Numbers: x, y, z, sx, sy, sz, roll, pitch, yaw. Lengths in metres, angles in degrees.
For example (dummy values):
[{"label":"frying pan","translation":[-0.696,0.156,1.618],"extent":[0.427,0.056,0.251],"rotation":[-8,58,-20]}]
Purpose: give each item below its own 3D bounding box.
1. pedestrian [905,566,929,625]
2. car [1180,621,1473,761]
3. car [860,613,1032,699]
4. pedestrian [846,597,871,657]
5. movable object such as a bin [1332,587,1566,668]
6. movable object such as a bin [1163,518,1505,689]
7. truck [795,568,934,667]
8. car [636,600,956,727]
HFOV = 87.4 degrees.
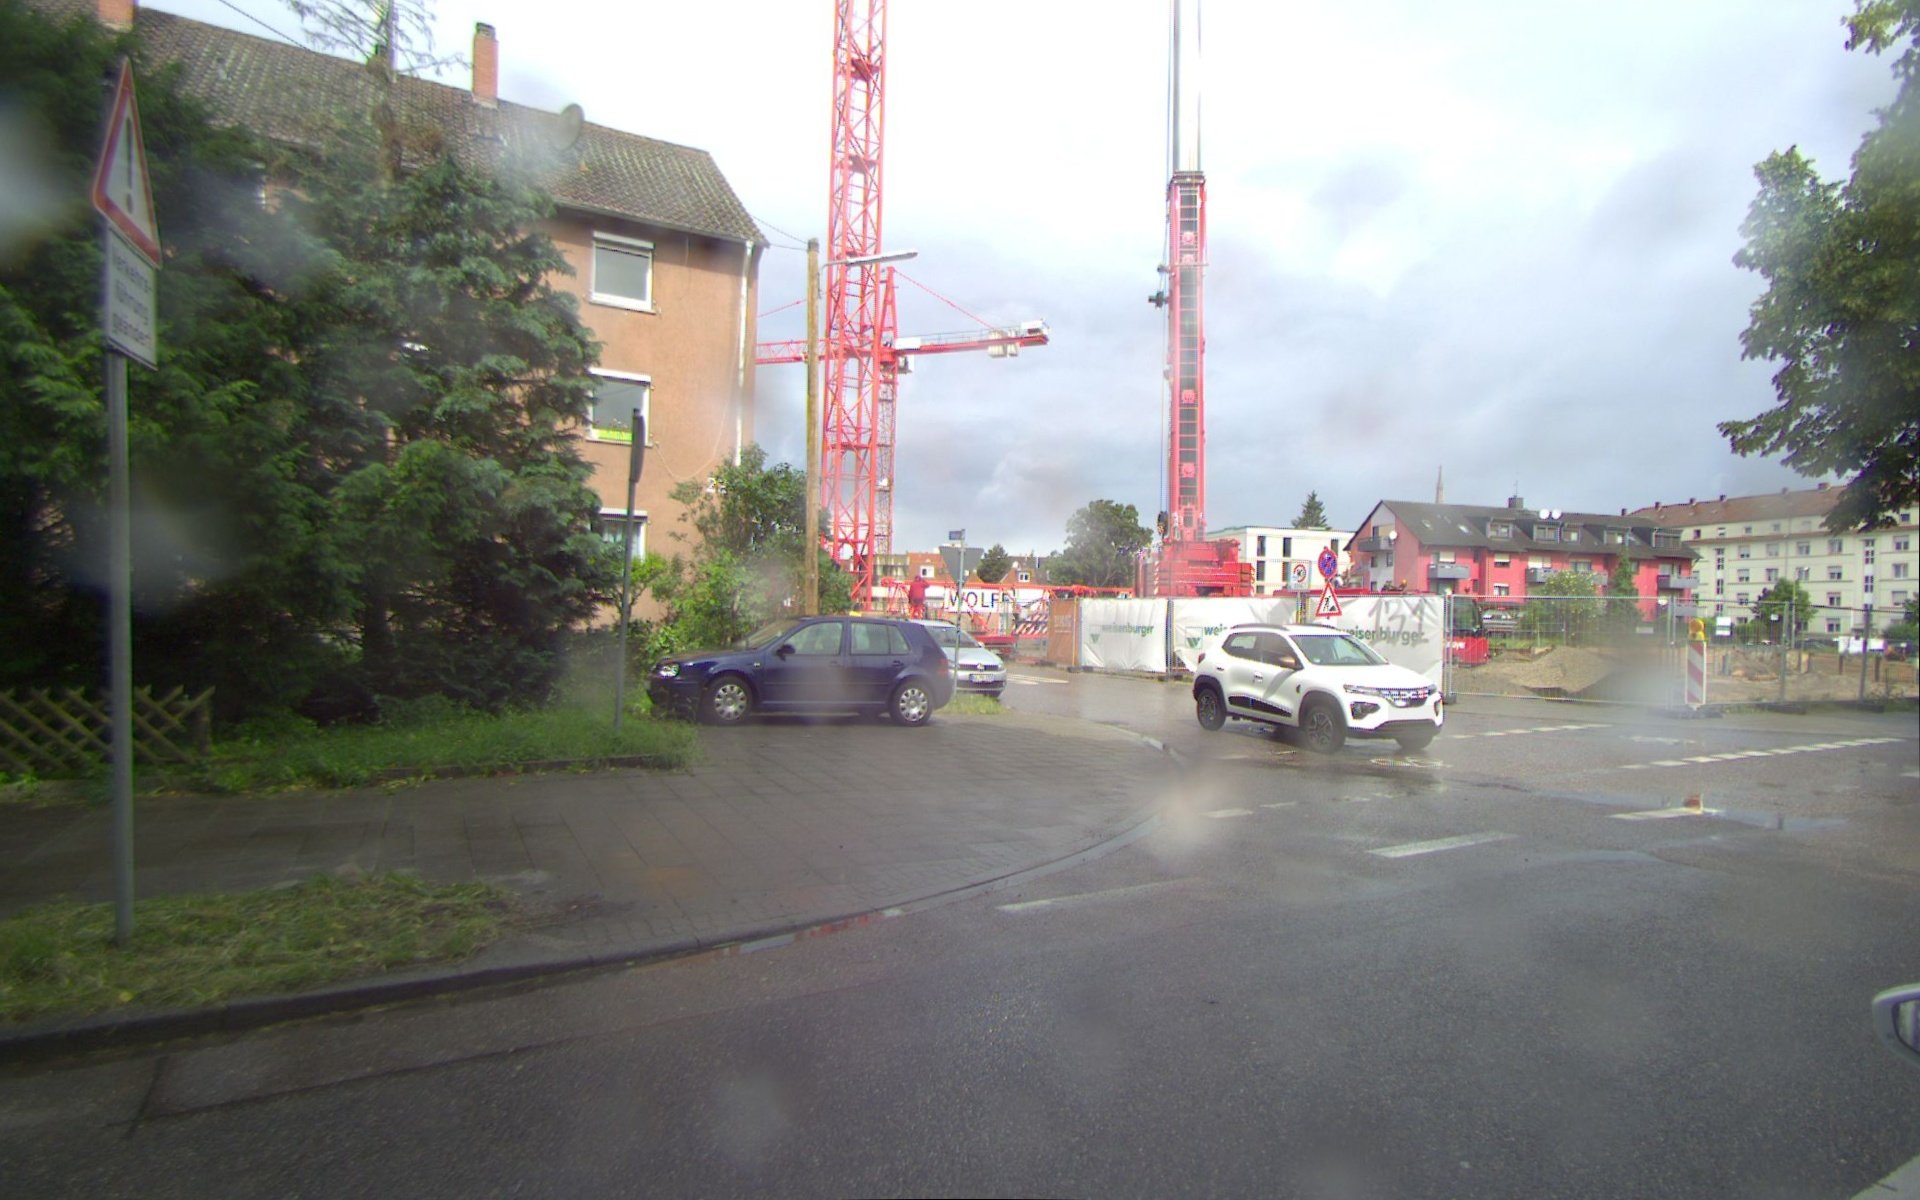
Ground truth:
[{"label":"pedestrian","translation":[-1.508,-0.157,35.441],"extent":[0.681,2.040,0.487],"rotation":[3,-4,-37]},{"label":"car","translation":[4.673,1.088,13.349],"extent":[1.712,1.554,3.599],"rotation":[2,-1,-21]},{"label":"car","translation":[-0.391,1.058,20.363],"extent":[1.708,1.493,4.033],"rotation":[2,-1,-30]},{"label":"pedestrian","translation":[-3.511,0.947,34.869],"extent":[0.740,2.040,0.428],"rotation":[2,-4,-34]},{"label":"movable object such as a bin","translation":[40.692,2.223,84.256],"extent":[16.428,6.125,6.885],"rotation":[1,0,-5]},{"label":"movable object such as a bin","translation":[10.398,0.064,29.613],"extent":[3.322,4.170,9.776],"rotation":[1,0,-27]},{"label":"truck","translation":[-3.759,0.530,37.673],"extent":[2.323,3.237,6.959],"rotation":[3,1,-31]},{"label":"car","translation":[-2.137,0.851,13.318],"extent":[3.823,1.439,1.617],"rotation":[4,0,-29]}]
